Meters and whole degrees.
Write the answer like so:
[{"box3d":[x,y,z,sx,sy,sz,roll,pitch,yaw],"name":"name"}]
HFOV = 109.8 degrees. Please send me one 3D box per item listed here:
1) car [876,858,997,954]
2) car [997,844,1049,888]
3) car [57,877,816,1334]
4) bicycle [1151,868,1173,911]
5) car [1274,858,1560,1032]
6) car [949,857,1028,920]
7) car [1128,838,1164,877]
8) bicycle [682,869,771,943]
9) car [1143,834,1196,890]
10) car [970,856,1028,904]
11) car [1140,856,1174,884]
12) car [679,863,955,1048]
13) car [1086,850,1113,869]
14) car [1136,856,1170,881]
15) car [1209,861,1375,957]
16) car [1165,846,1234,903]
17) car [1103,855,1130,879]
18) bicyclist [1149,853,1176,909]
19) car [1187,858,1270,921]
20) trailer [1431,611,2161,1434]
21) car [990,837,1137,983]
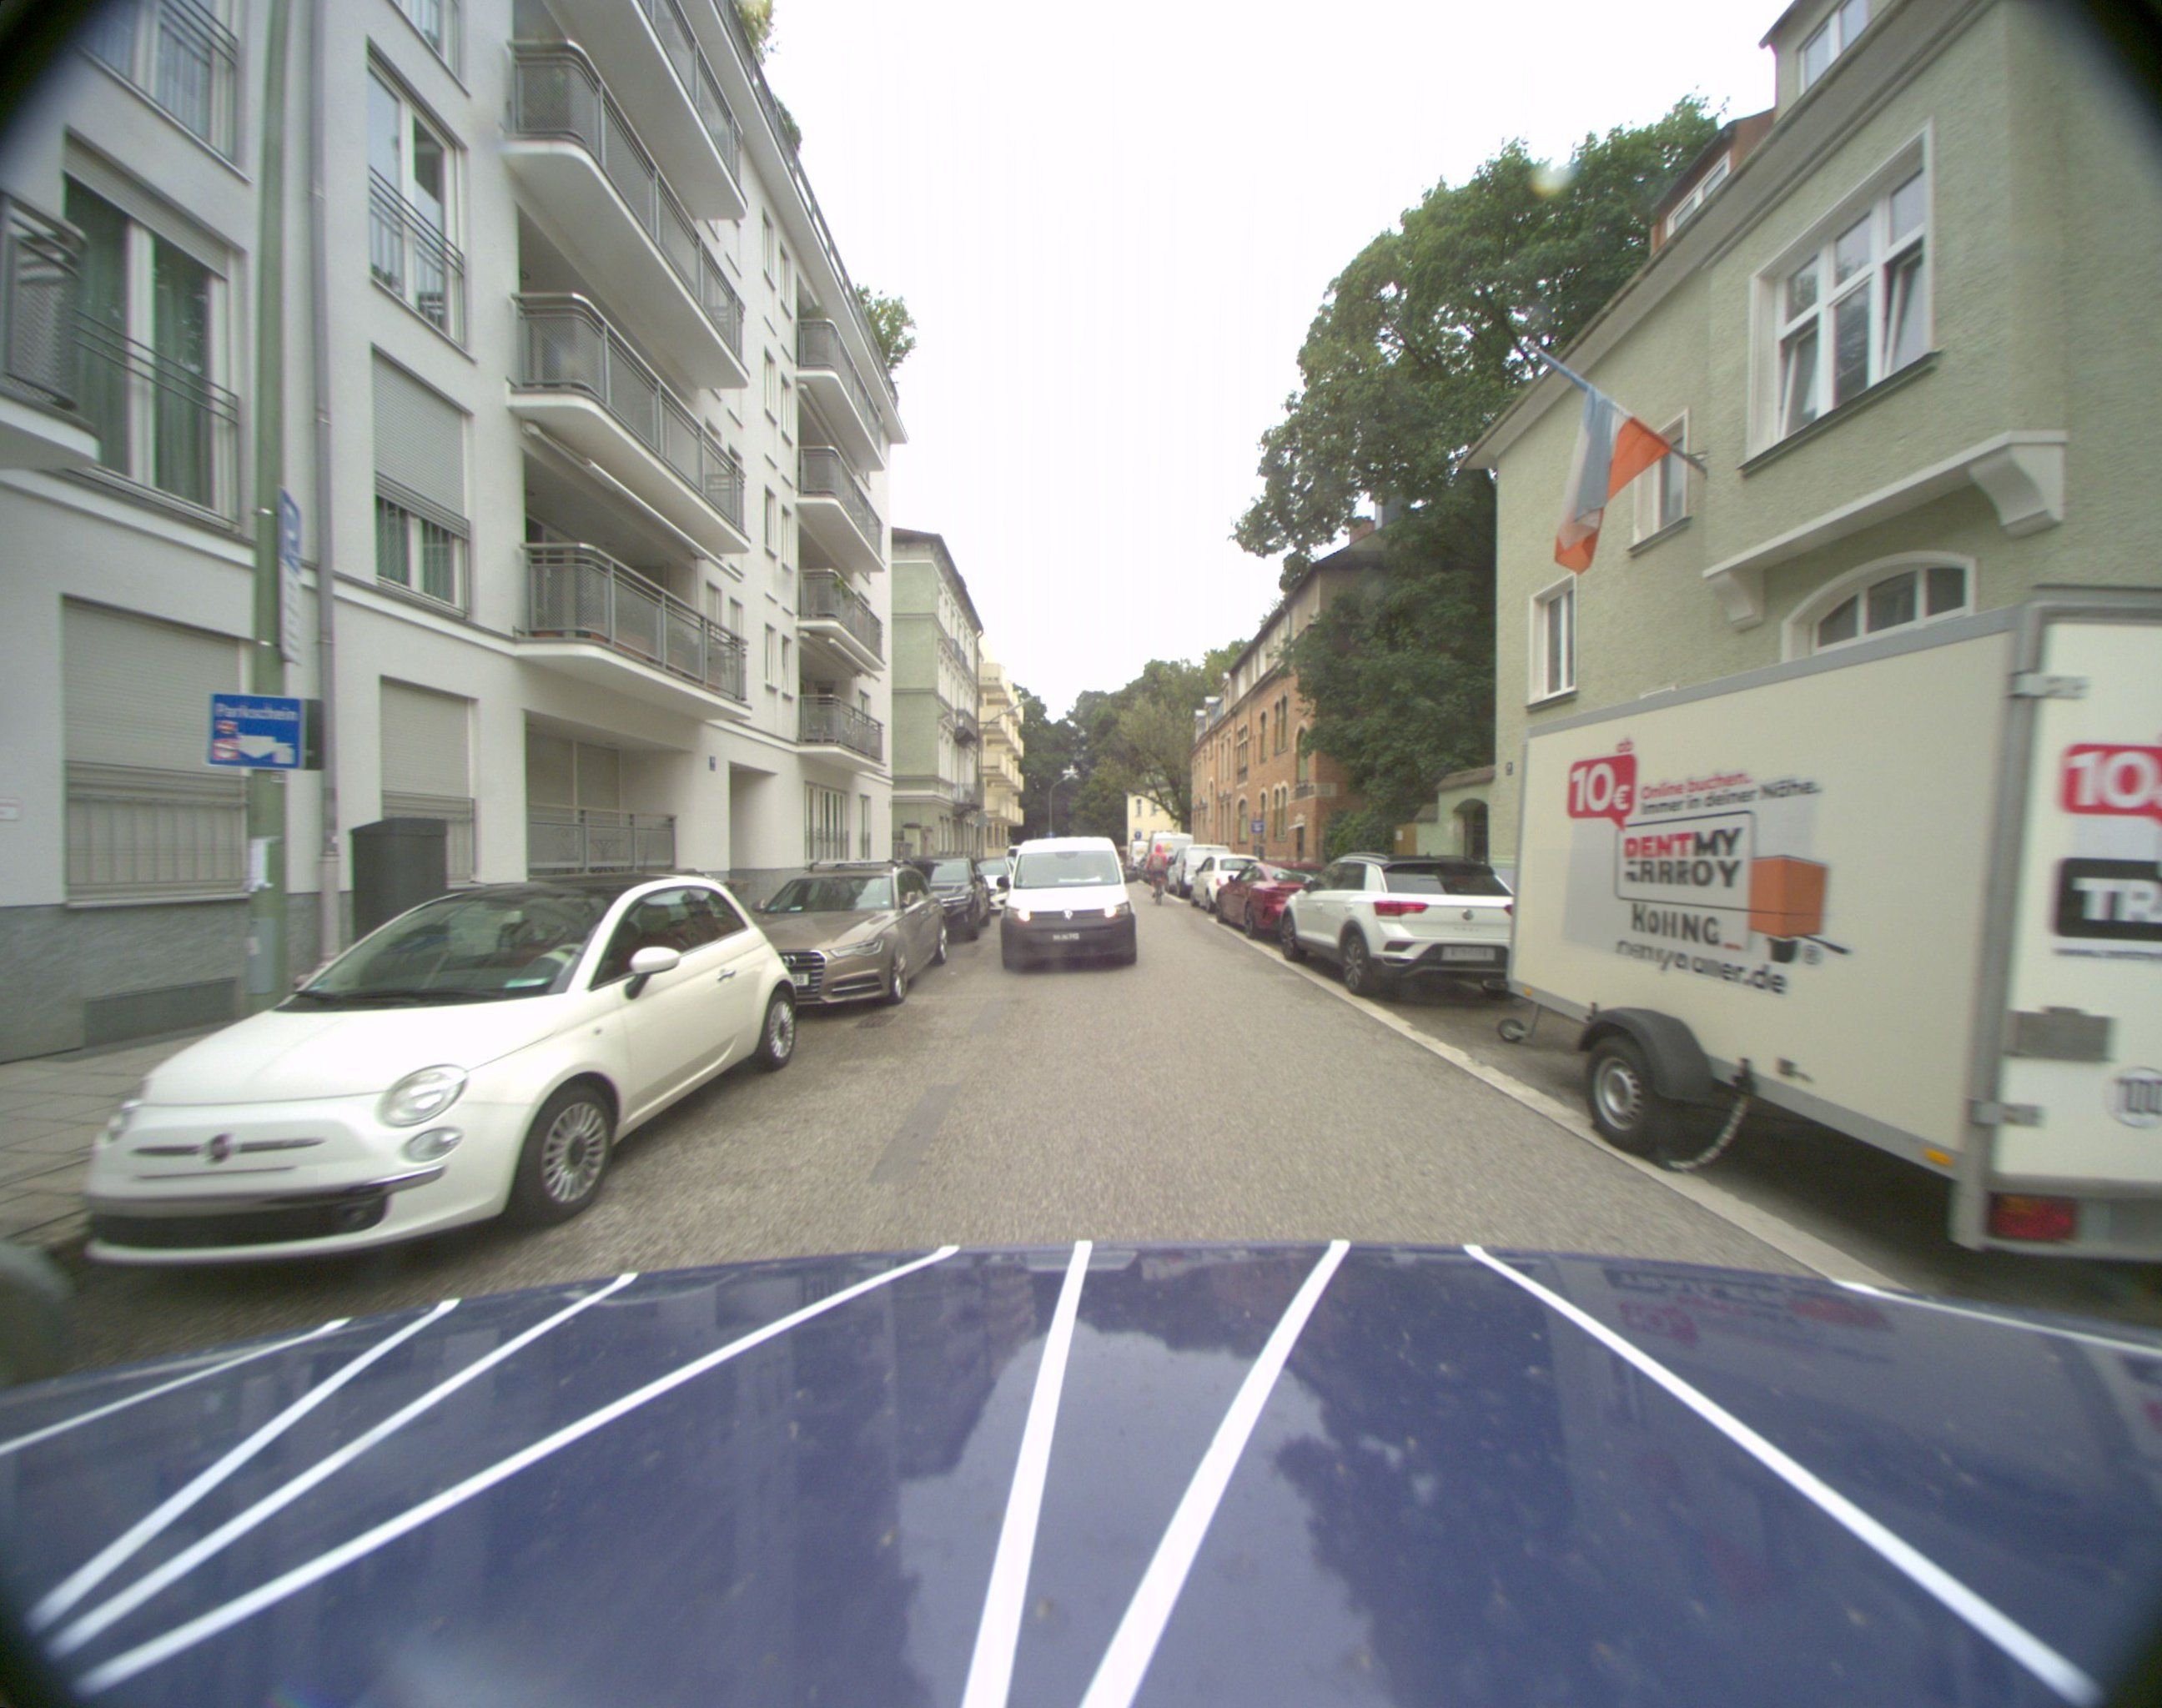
[{"box3d":[-2.694,0.899,14.985,1.608,1.521,3.983,-3,1,-1],"name":"car"},{"box3d":[-2.666,0.539,35.904,1.858,1.885,4.592,-3,0,2],"name":"car"},{"box3d":[-2.994,0.986,4.582,1.523,1.521,3.526,-2,1,0],"name":"car"},{"box3d":[2.288,0.975,21.581,0.505,1.122,1.773,1,0,3],"name":"bicycle"},{"box3d":[3.730,0.888,9.276,1.691,1.593,3.921,2,0,0],"name":"car"},{"box3d":[-2.438,0.875,20.963,1.662,1.431,4.206,-3,0,-1],"name":"car"},{"box3d":[4.492,0.279,53.099,2.118,2.525,4.421,2,0,1],"name":"car"},{"box3d":[-6.251,0.873,13.528,0.629,1.153,2.127,0,0,-2],"name":"bicycle"},{"box3d":[4.212,0.345,37.059,1.986,2.463,5.222,1,1,1],"name":"car"},{"box3d":[-2.735,0.832,25.988,1.623,1.404,3.552,-3,1,-1],"name":"car"},{"box3d":[4.167,0.875,42.198,1.526,1.434,3.541,2,0,0],"name":"car"},{"box3d":[-2.788,0.948,9.244,1.738,1.521,4.620,-3,0,-1],"name":"car"},{"box3d":[1.726,0.494,73.904,1.777,1.793,4.568,-1,0,-9],"name":"car"},{"box3d":[4.424,0.854,47.151,1.694,1.434,3.984,2,0,0],"name":"car"},{"box3d":[3.831,0.926,14.628,1.865,1.404,4.332,2,1,-1],"name":"car"},{"box3d":[4.052,0.659,26.536,1.694,1.793,4.144,1,0,-1],"name":"car"},{"box3d":[2.200,0.787,47.596,1.585,1.403,3.612,0,1,1],"name":"car"},{"box3d":[2.309,0.763,21.726,0.695,1.552,0.967,1,1,3],"name":"bicyclist"},{"box3d":[3.824,0.873,20.140,1.477,1.458,3.313,1,0,-1],"name":"car"},{"box3d":[3.836,0.519,4.421,1.713,2.447,4.387,2,0,3],"name":"trailer"},{"box3d":[-0.152,0.685,11.361,1.776,1.761,4.000,-1,0,2],"name":"car"}]
